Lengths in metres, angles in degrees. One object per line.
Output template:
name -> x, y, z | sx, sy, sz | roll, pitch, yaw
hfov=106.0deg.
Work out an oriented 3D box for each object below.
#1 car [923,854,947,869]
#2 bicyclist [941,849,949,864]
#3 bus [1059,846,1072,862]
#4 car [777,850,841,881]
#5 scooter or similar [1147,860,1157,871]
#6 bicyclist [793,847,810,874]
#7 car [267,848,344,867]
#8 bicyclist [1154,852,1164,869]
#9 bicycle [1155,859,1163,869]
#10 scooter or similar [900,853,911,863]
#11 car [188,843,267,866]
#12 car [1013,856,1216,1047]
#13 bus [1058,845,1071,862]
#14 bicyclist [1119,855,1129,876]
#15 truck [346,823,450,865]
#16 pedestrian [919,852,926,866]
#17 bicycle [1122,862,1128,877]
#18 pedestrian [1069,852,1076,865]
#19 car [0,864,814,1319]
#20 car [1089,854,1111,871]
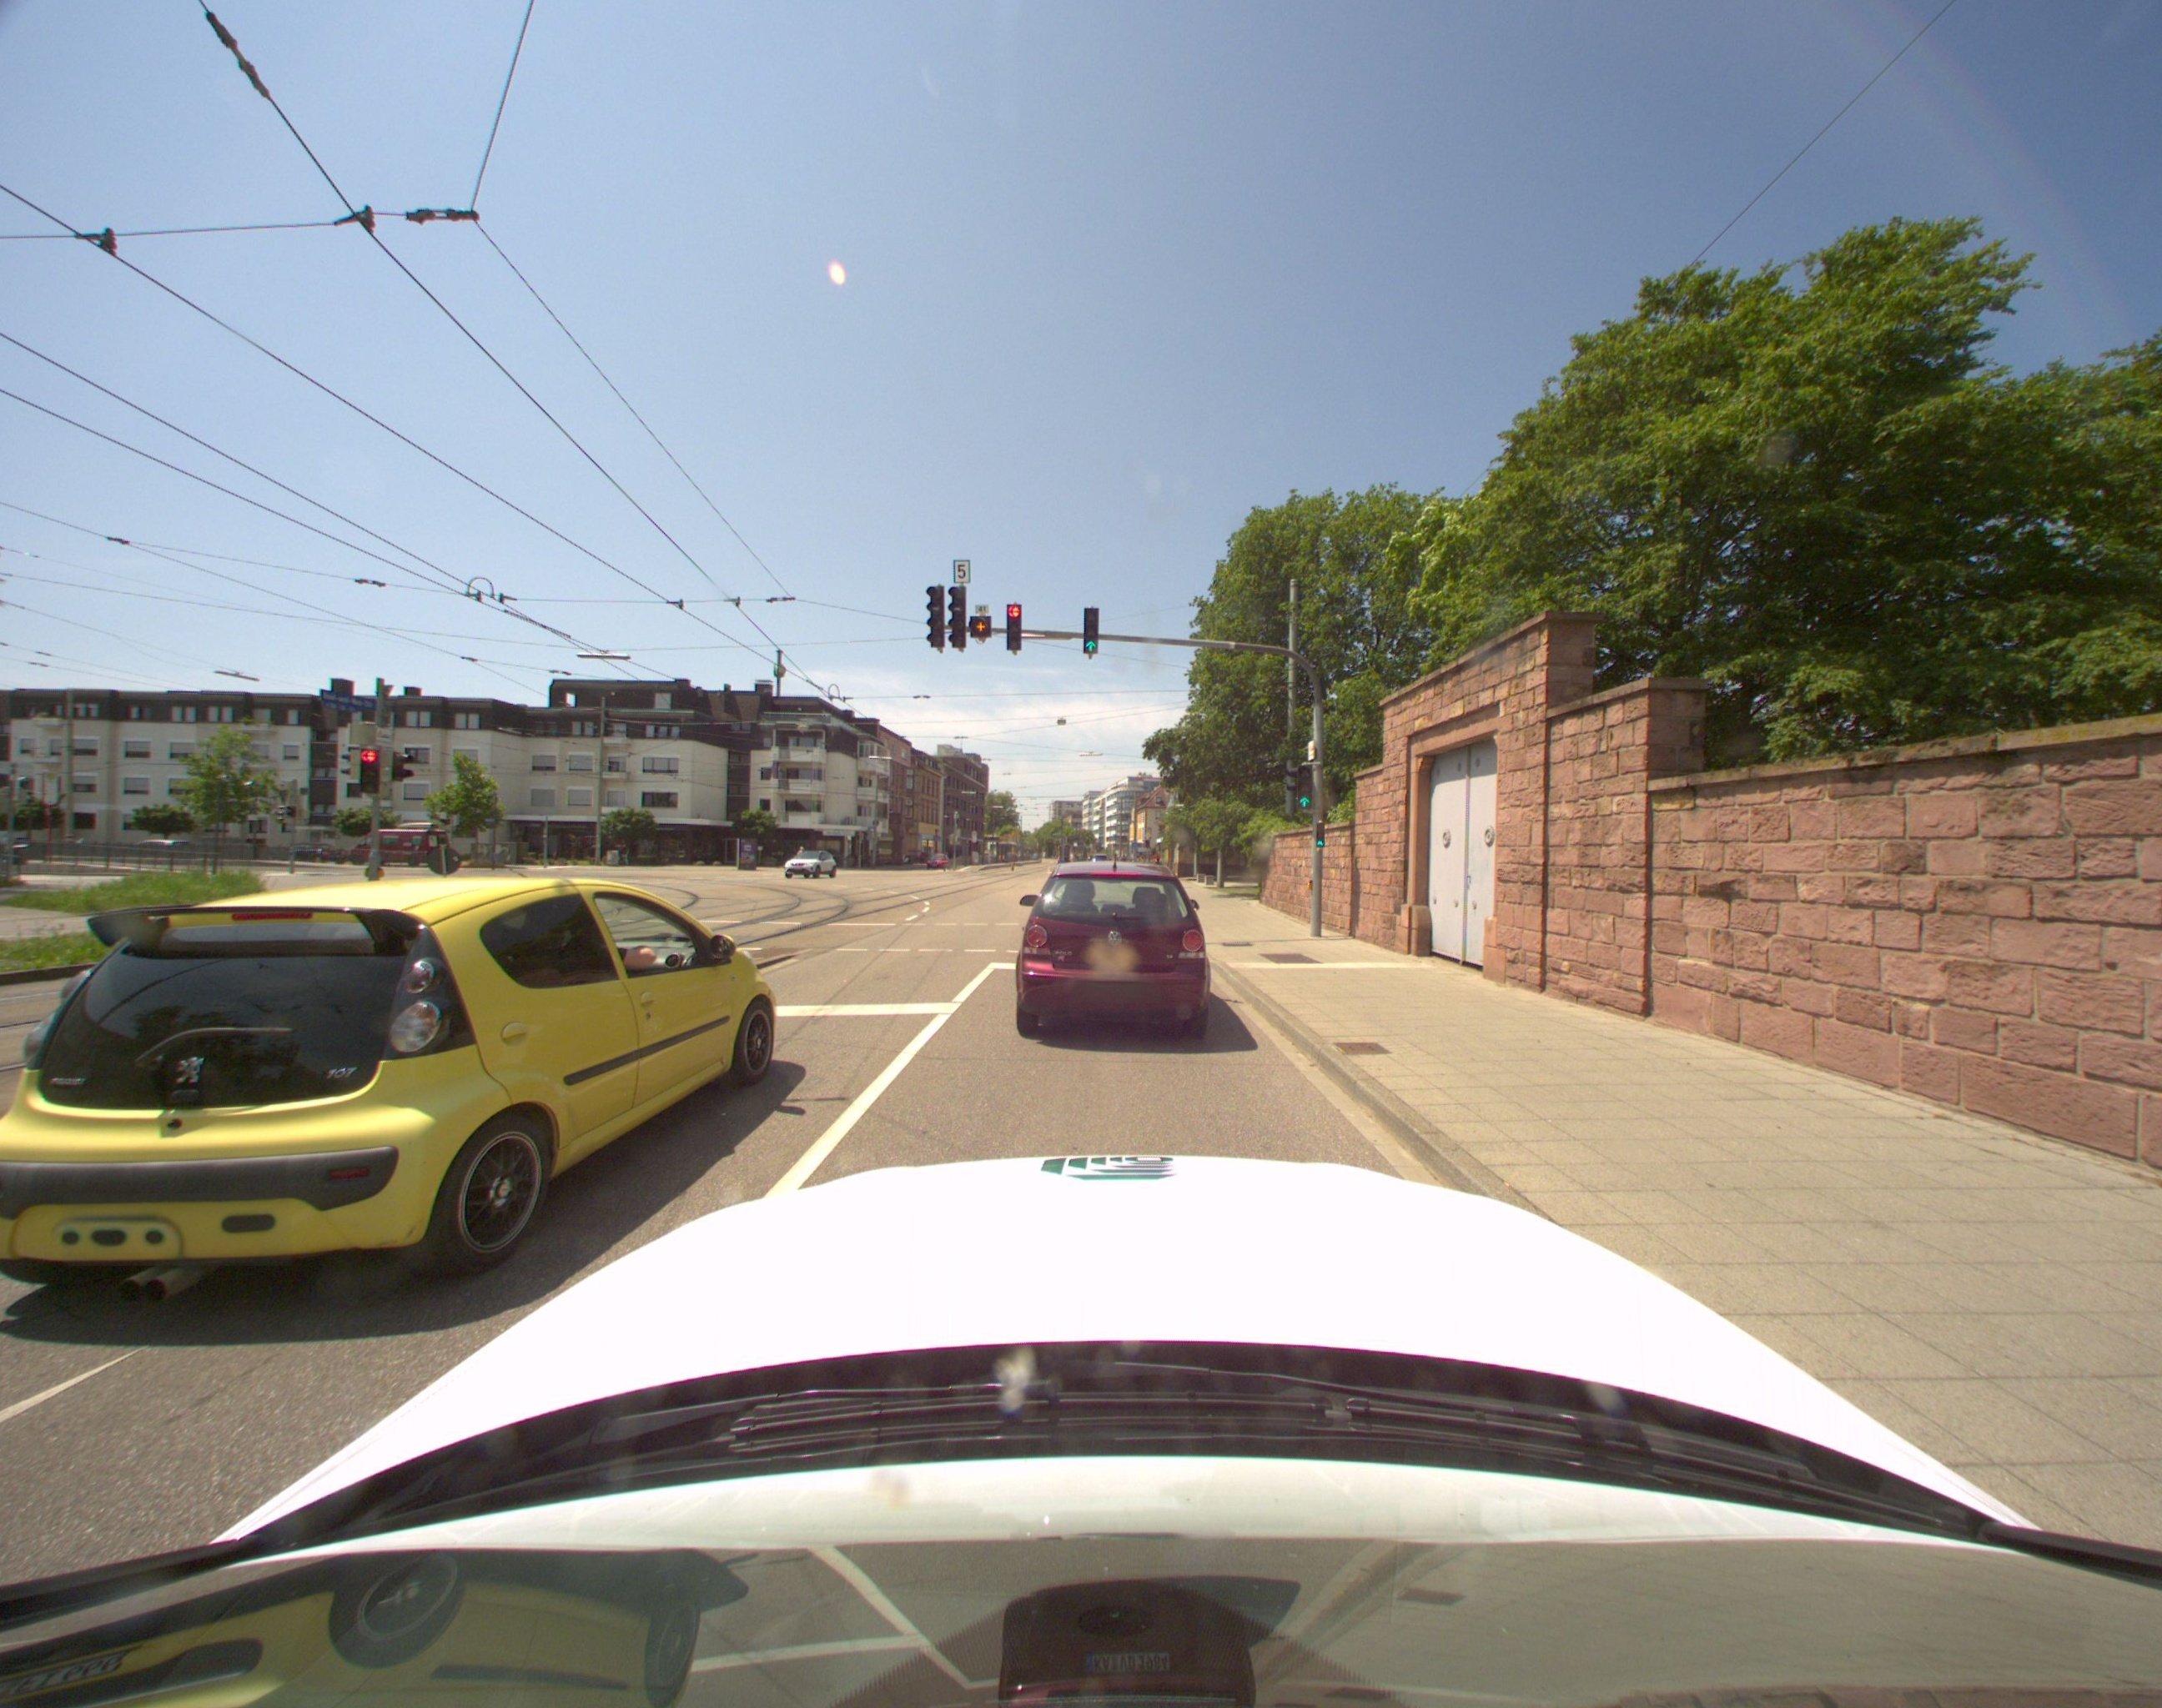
car -> -14.331, 0.711, 79.966 | 1.619, 1.484, 3.829 | 1, 0, 0
bicyclist -> -15.987, 0.317, 95.798 | 0.729, 1.762, 1.135 | 1, 0, 2
bus -> -2.915, 0.004, 158.437 | 2.225, 3.003, 6.595 | 1, 0, 1
car -> -14.856, 0.605, 44.787 | 1.986, 1.553, 4.141 | 1, 0, 2
scooter or similar -> 7.324, 1.186, 84.007 | 0.340, 1.178, 1.457 | 1, 0, -22
bicyclist -> -18.627, 0.415, 54.340 | 0.692, 1.765, 1.137 | 1, 1, 1
car -> -51.274, 0.225, 53.856 | 3.556, 1.219, 1.591 | 1, 0, 2
bicyclist -> 7.701, 0.672, 80.506 | 0.829, 1.618, 0.860 | -3, 0, 1
bicycle -> 7.699, 0.985, 80.408 | 0.666, 1.002, 1.864 | -3, 0, 2
scooter or similar -> -19.906, 0.425, 92.596 | 0.484, 1.082, 1.584 | 1, 0, 18
car -> -56.316, 0.018, 53.761 | 3.556, 1.433, 1.591 | 1, 0, 2
car -> 0.285, 0.758, 7.838 | 1.556, 1.453, 3.062 | 1, 0, 1
bus -> -3.024, -0.053, 151.862 | 2.137, 3.003, 6.575 | 1, 0, 1
bicyclist -> 3.590, 0.962, 67.927 | 0.725, 1.760, 0.924 | 1, 0, 0
truck -> -45.303, -0.643, 54.106 | 5.007, 2.698, 2.188 | 1, 0, 1
pedestrian -> -18.124, 0.545, 93.177 | 0.612, 1.560, 0.640 | 1, 0, 1
bicycle -> 3.673, 1.254, 67.850 | 0.374, 1.197, 1.905 | 1, 0, 1
pedestrian -> -1.118, 0.554, 107.129 | 0.760, 1.674, 1.101 | 1, 0, 2
car -> -2.912, 0.793, 4.468 | 1.610, 1.421, 3.656 | -1, -1, 1
car -> 1.761, 0.803, 77.991 | 1.987, 1.624, 4.631 | 1, 0, 0
